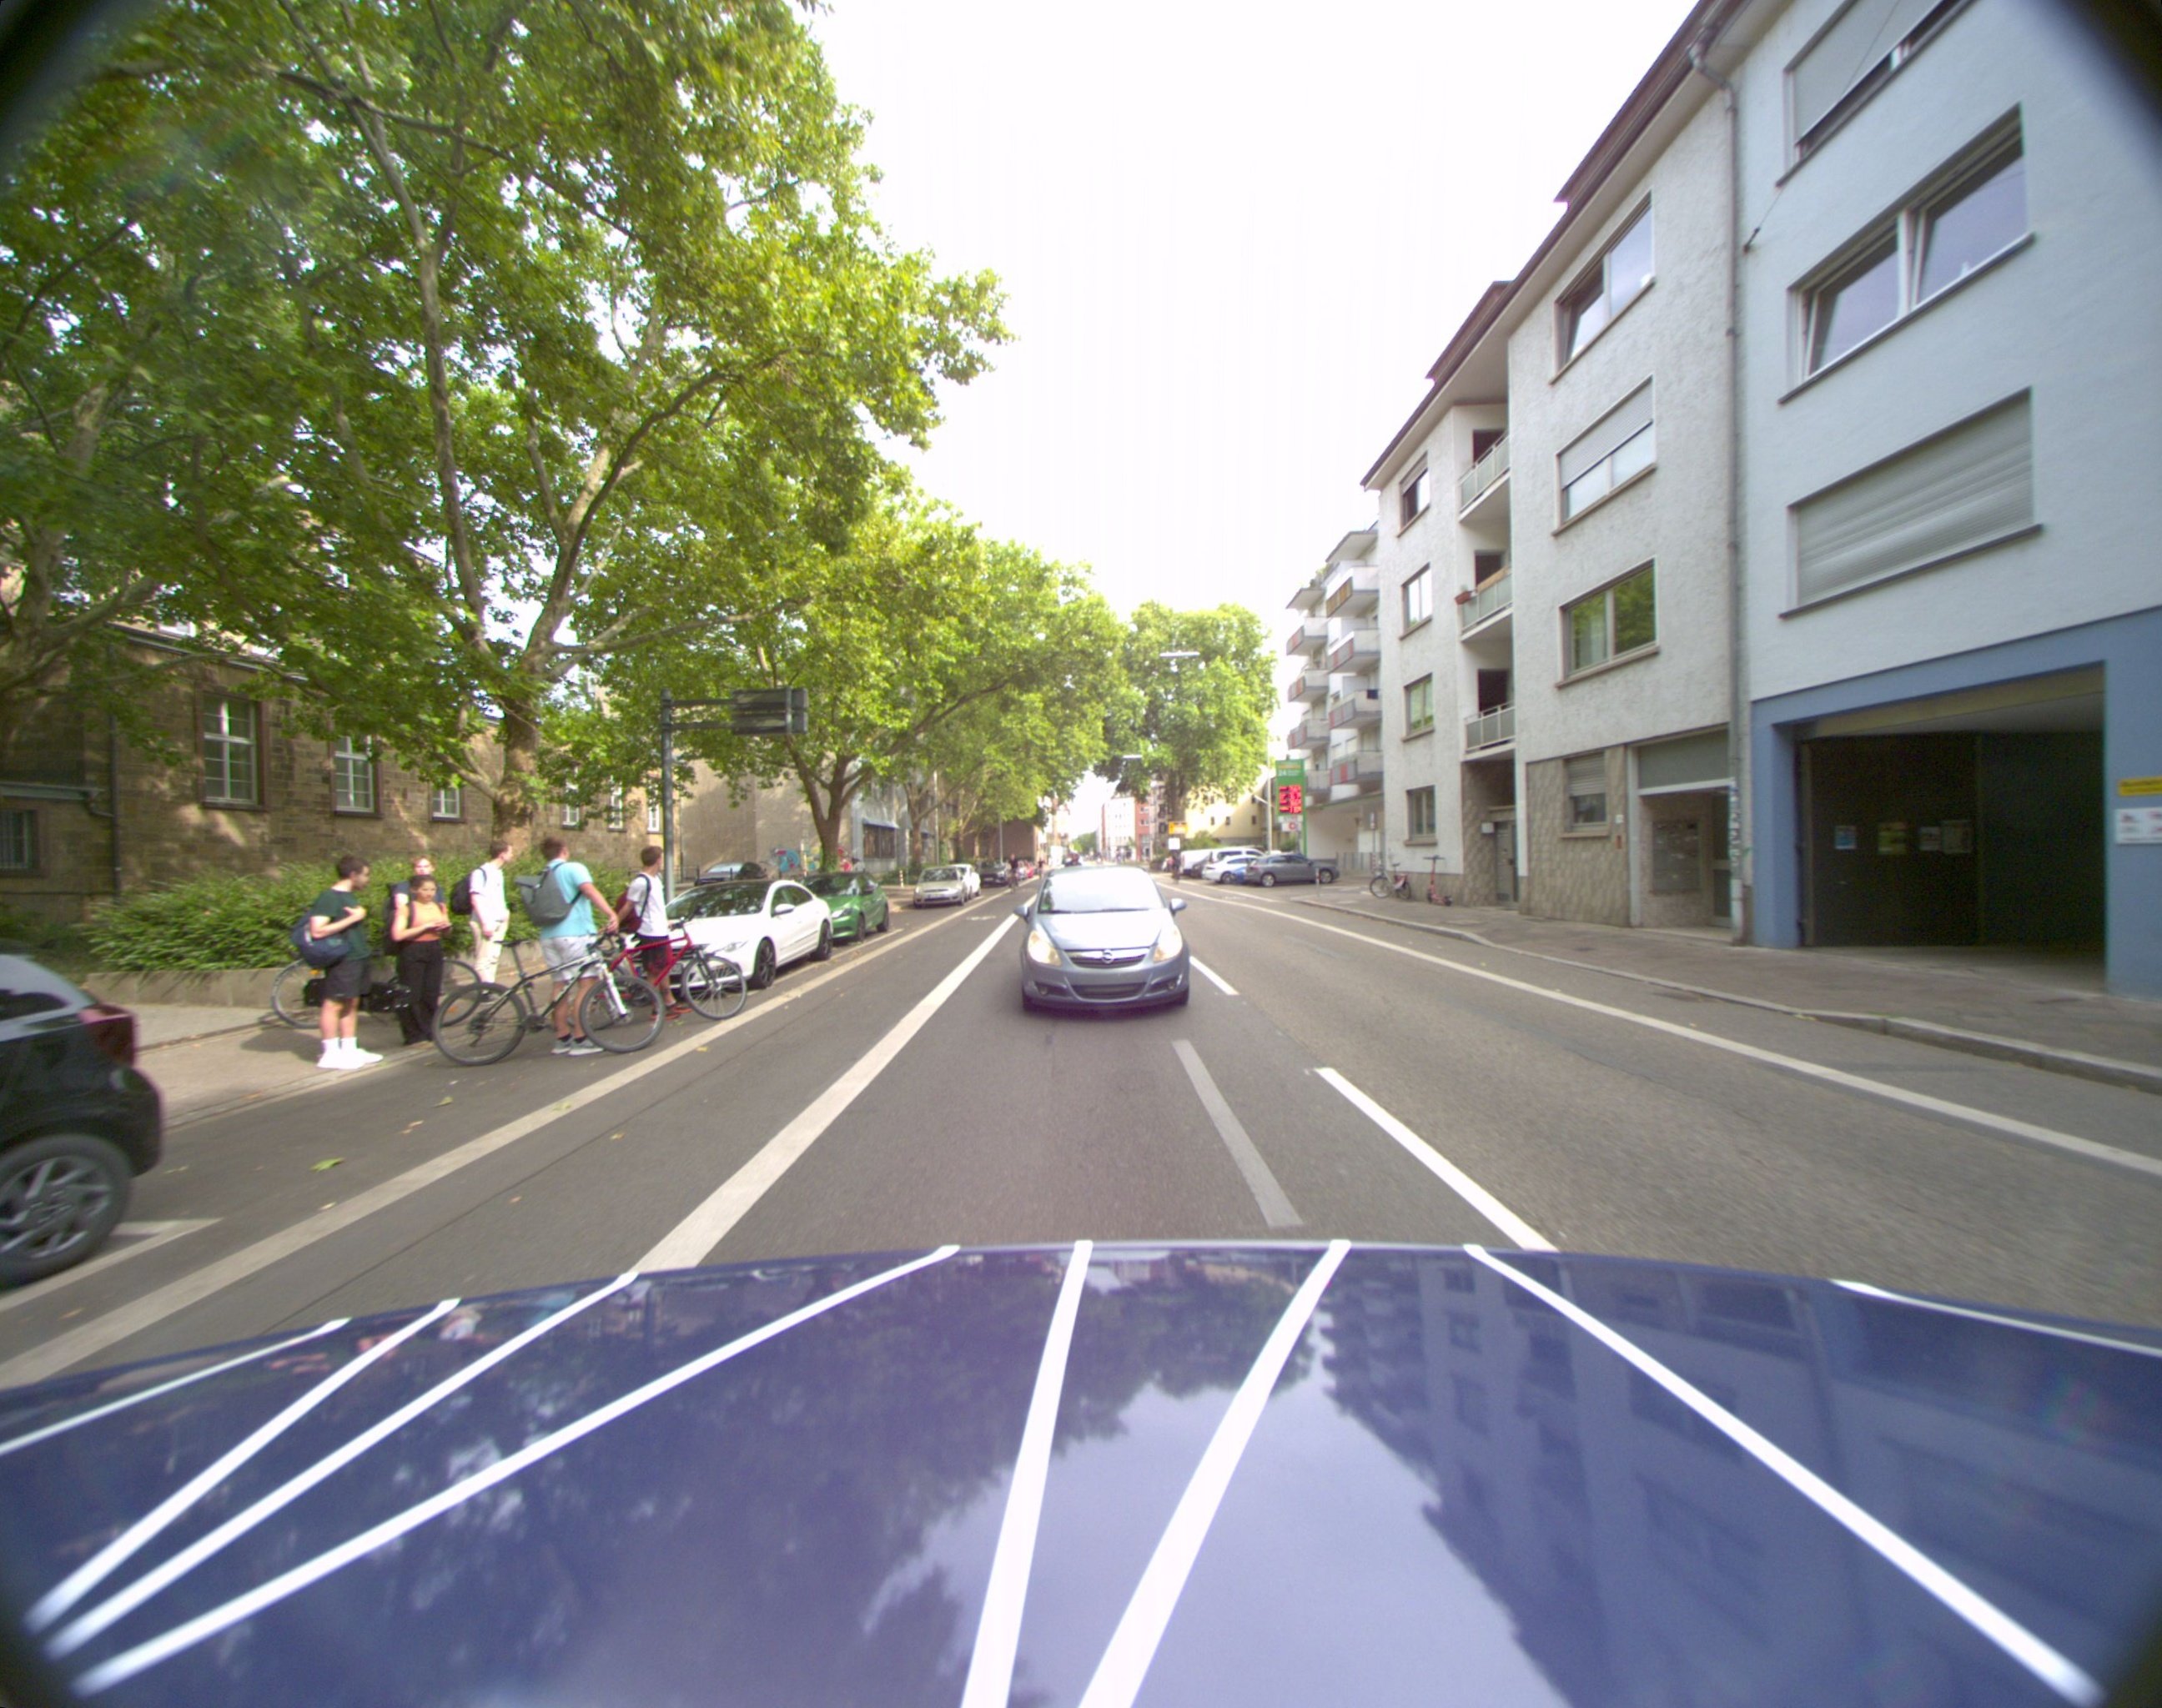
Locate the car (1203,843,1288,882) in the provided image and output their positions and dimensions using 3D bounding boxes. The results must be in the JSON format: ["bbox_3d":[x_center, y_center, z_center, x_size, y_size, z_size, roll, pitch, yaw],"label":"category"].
[{"bbox_3d":[9.112,0.483,42.408,4.222,1.837,1.924,-4,0,0],"label":"car"}]

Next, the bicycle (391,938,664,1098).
[{"bbox_3d":[-4.593,1.339,6.413,1.740,1.099,0.552,-3,1,-11],"label":"bicycle"}]

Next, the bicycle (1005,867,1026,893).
[{"bbox_3d":[-3.051,1.200,35.722,0.763,1.162,1.949,-2,0,0],"label":"bicycle"}]

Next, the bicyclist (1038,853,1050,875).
[{"bbox_3d":[-2.822,0.763,58.020,0.749,1.590,0.819,-2,0,0],"label":"bicyclist"}]

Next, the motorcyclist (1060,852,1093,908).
[{"bbox_3d":[-0.133,0.767,22.538,0.904,1.608,0.691,-1,1,0],"label":"motorcyclist"}]

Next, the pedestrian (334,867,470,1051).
[{"bbox_3d":[-7.236,1.079,8.138,0.723,1.844,0.703,-3,1,0],"label":"pedestrian"}]

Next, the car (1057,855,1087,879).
[{"bbox_3d":[-0.620,0.877,52.904,2.000,1.556,4.550,-2,0,0],"label":"car"}]

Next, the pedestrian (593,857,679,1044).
[{"bbox_3d":[-4.632,0.958,7.953,0.522,1.834,0.744,-3,1,-15],"label":"pedestrian"}]

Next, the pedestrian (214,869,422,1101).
[{"bbox_3d":[-6.430,1.055,6.457,0.873,1.806,0.780,-3,1,0],"label":"pedestrian"}]

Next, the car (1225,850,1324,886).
[{"bbox_3d":[9.448,0.669,37.355,4.311,1.442,1.910,-4,0,0],"label":"car"}]

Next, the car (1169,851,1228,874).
[{"bbox_3d":[9.387,0.691,60.708,4.373,1.540,1.733,-4,0,1],"label":"car"}]

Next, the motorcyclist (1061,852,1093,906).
[{"bbox_3d":[-0.114,0.760,23.247,0.904,1.608,0.691,-1,1,0],"label":"motorcyclist"}]

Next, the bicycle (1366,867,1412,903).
[{"bbox_3d":[8.669,0.854,21.455,0.598,0.945,1.662,-2,0,0],"label":"bicycle"}]

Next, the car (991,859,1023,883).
[{"bbox_3d":[-4.971,1.129,51.460,1.644,1.424,4.573,-3,0,0],"label":"car"}]

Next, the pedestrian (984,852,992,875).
[{"bbox_3d":[-7.335,0.773,59.909,0.502,1.775,0.527,2,1,-1],"label":"pedestrian"}]

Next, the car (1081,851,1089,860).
[{"bbox_3d":[1.178,0.417,210.734,1.998,2.546,4.798,-2,0,0],"label":"car"}]

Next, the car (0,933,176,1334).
[{"bbox_3d":[-4.980,1.151,1.665,1.532,1.493,3.660,-3,0,0],"label":"car"}]

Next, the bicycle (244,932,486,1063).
[{"bbox_3d":[-7.278,1.439,7.792,1.773,1.125,0.462,-3,1,-12],"label":"bicycle"}]

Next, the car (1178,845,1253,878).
[{"bbox_3d":[9.089,0.504,51.646,4.627,1.848,1.950,-4,0,1],"label":"car"}]

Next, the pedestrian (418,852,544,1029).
[{"bbox_3d":[-7.089,0.984,9.023,0.795,1.986,0.750,-3,1,0],"label":"pedestrian"}]

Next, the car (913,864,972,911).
[{"bbox_3d":[-4.990,1.163,27.759,1.647,1.438,3.881,-3,0,-5],"label":"car"}]

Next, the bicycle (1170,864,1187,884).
[{"bbox_3d":[5.383,1.069,41.948,0.647,1.008,2.076,-2,1,0],"label":"bicycle"}]

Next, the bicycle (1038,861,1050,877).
[{"bbox_3d":[-2.818,1.113,58.016,0.763,1.162,1.949,-2,0,0],"label":"bicycle"}]

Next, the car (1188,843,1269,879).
[{"bbox_3d":[9.489,0.438,49.181,4.779,1.923,1.994,-4,0,1],"label":"car"}]

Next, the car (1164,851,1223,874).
[{"bbox_3d":[9.299,0.681,63.022,4.530,1.596,1.754,-4,0,1],"label":"car"}]

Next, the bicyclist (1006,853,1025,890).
[{"bbox_3d":[-3.071,0.828,35.694,0.764,1.698,0.917,-2,0,0],"label":"bicyclist"}]

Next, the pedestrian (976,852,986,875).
[{"bbox_3d":[-7.919,0.752,60.212,0.644,1.823,0.645,2,1,-1],"label":"pedestrian"}]

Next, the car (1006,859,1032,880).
[{"bbox_3d":[-4.982,1.212,61.253,1.602,1.496,4.440,-3,0,0],"label":"car"}]

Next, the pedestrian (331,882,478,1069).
[{"bbox_3d":[-6.410,1.119,7.236,0.723,1.648,0.655,-3,1,0],"label":"pedestrian"}]

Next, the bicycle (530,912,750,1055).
[{"bbox_3d":[-4.399,1.265,7.709,1.796,1.210,0.552,-3,1,-17],"label":"bicycle"}]

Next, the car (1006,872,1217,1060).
[{"bbox_3d":[0.251,0.983,8.465,1.717,1.412,4.253,-2,0,0],"label":"car"}]

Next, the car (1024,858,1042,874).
[{"bbox_3d":[-5.170,1.255,81.552,1.602,1.516,3.956,-3,0,0],"label":"car"}]

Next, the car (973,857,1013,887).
[{"bbox_3d":[-5.256,1.062,45.763,1.926,1.612,4.480,-3,0,-2],"label":"car"}]

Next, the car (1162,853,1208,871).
[{"bbox_3d":[10.080,0.778,73.576,3.989,1.637,1.940,-1,0,28],"label":"car"}]

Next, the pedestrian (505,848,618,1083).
[{"bbox_3d":[-4.535,0.921,6.679,0.476,1.923,0.744,-3,1,-11],"label":"pedestrian"}]

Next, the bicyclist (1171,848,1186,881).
[{"bbox_3d":[5.362,0.573,41.807,0.653,1.800,1.045,-2,1,0],"label":"bicyclist"}]

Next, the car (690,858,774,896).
[{"bbox_3d":[-14.742,0.986,32.370,1.673,1.441,4.298,-2,-2,-2],"label":"car"}]

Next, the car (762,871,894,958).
[{"bbox_3d":[-5.196,1.175,16.118,1.591,1.441,3.804,-4,0,-2],"label":"car"}]

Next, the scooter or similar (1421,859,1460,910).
[{"bbox_3d":[8.860,0.734,18.750,0.350,1.214,1.202,-2,0,0],"label":"scooter or similar"}]

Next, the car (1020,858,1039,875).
[{"bbox_3d":[-5.209,1.230,76.839,1.602,1.516,3.956,-3,0,0],"label":"car"}]

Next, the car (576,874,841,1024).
[{"bbox_3d":[-5.011,1.156,11.056,1.685,1.507,4.543,-4,0,-2],"label":"car"}]

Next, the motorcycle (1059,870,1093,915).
[{"bbox_3d":[-0.130,1.102,22.538,0.904,1.190,2.630,-1,0,1],"label":"motorcycle"}]

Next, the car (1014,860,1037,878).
[{"bbox_3d":[-4.830,1.293,66.573,1.602,1.438,4.105,-3,0,0],"label":"car"}]

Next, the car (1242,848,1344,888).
[{"bbox_3d":[9.726,0.626,35.073,4.161,1.504,1.837,-4,0,0],"label":"car"}]

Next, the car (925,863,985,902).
[{"bbox_3d":[-5.267,1.159,32.322,1.759,1.438,4.218,-3,0,0],"label":"car"}]

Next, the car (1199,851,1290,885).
[{"bbox_3d":[8.490,0.724,39.709,4.282,1.442,1.874,-4,0,0],"label":"car"}]
